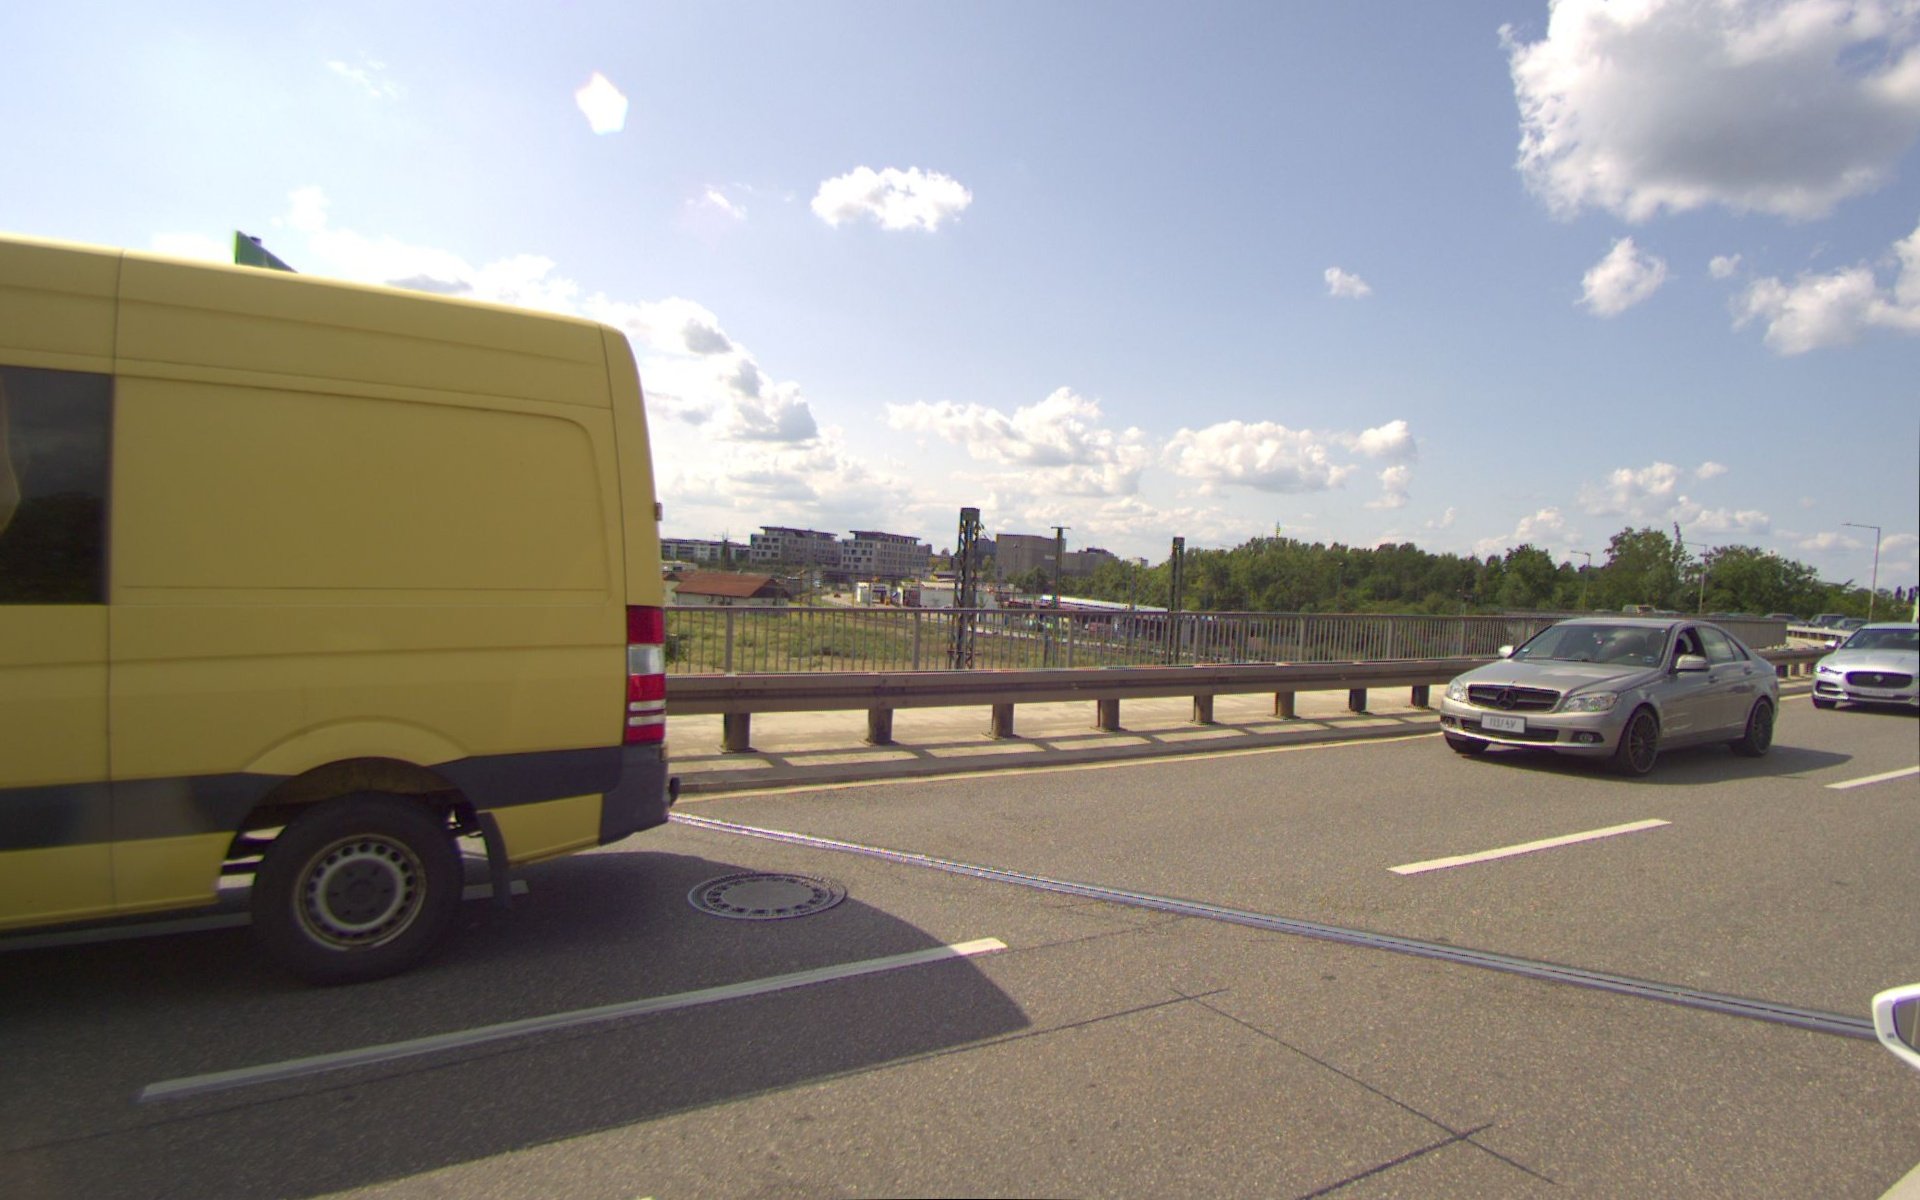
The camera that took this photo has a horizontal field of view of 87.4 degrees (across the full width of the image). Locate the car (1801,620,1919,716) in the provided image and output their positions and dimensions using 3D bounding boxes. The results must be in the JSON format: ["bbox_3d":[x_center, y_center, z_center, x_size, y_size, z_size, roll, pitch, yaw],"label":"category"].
[{"bbox_3d":[15.920,1.083,16.895,4.539,1.393,1.780,1,1,-38],"label":"car"}]

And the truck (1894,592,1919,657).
[{"bbox_3d":[39.180,0.981,40.034,1.967,2.541,5.929,1,0,34],"label":"truck"}]

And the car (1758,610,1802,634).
[{"bbox_3d":[58.642,1.575,71.891,1.658,1.618,4.275,1,0,29],"label":"car"}]

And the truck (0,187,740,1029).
[{"bbox_3d":[-4.057,0.023,3.721,6.030,2.656,1.985,1,-1,-29],"label":"truck"}]

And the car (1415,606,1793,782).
[{"bbox_3d":[6.820,0.857,10.502,4.291,1.468,1.737,2,0,-34],"label":"car"}]
